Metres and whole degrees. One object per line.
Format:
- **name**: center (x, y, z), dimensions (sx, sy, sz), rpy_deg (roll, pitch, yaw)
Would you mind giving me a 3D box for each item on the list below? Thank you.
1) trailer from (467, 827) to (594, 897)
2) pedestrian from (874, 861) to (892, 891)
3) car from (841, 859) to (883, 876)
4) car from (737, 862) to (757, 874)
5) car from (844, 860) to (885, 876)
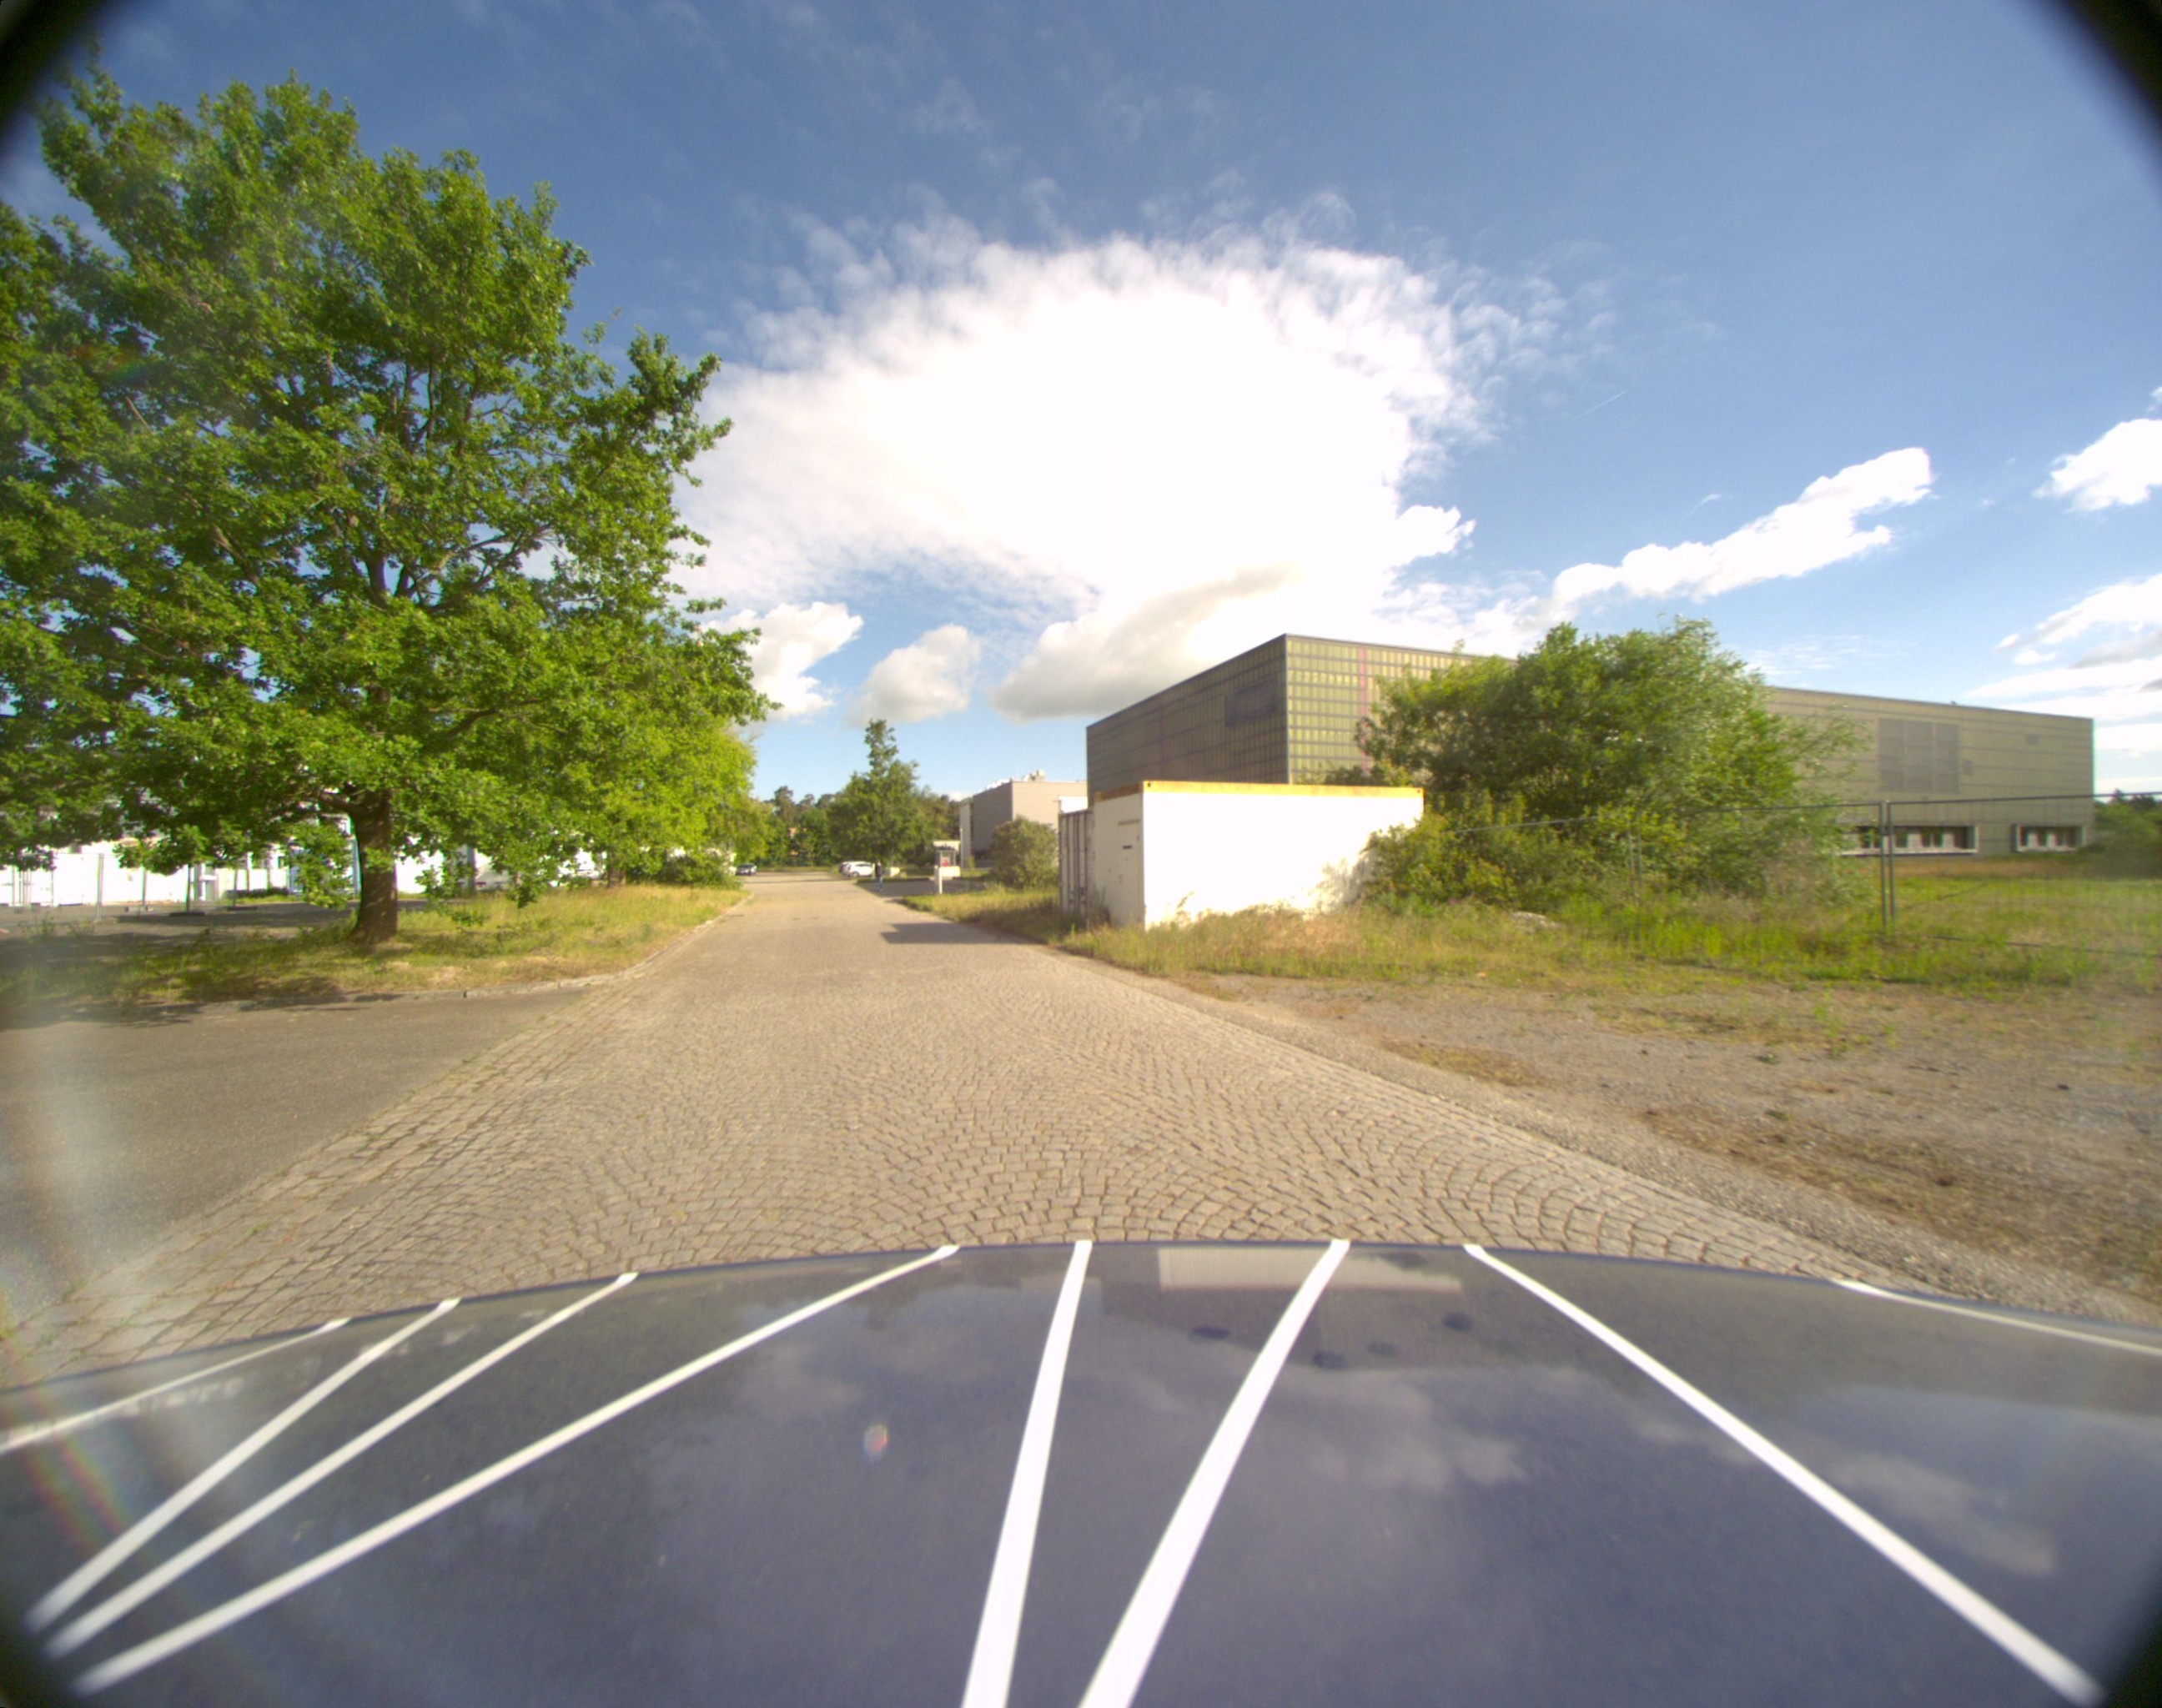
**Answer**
- **trailer**: center (-30.660, 0.409, 42.926), dimensions (2.929, 3.451, 9.885), rpy_deg (-1, 0, -18)
- **pedestrian**: center (-10.645, 1.177, 40.869), dimensions (0.868, 1.550, 1.027), rpy_deg (-1, 0, -10)
- **car**: center (-21.780, 1.321, 75.680), dimensions (4.002, 1.633, 1.997), rpy_deg (-1, 0, -15)
- **car**: center (-41.393, 1.722, 94.108), dimensions (2.003, 1.363, 3.991), rpy_deg (-1, 0, -27)
- **car**: center (-22.329, 1.423, 78.381), dimensions (4.002, 1.633, 1.997), rpy_deg (-1, 0, -15)
